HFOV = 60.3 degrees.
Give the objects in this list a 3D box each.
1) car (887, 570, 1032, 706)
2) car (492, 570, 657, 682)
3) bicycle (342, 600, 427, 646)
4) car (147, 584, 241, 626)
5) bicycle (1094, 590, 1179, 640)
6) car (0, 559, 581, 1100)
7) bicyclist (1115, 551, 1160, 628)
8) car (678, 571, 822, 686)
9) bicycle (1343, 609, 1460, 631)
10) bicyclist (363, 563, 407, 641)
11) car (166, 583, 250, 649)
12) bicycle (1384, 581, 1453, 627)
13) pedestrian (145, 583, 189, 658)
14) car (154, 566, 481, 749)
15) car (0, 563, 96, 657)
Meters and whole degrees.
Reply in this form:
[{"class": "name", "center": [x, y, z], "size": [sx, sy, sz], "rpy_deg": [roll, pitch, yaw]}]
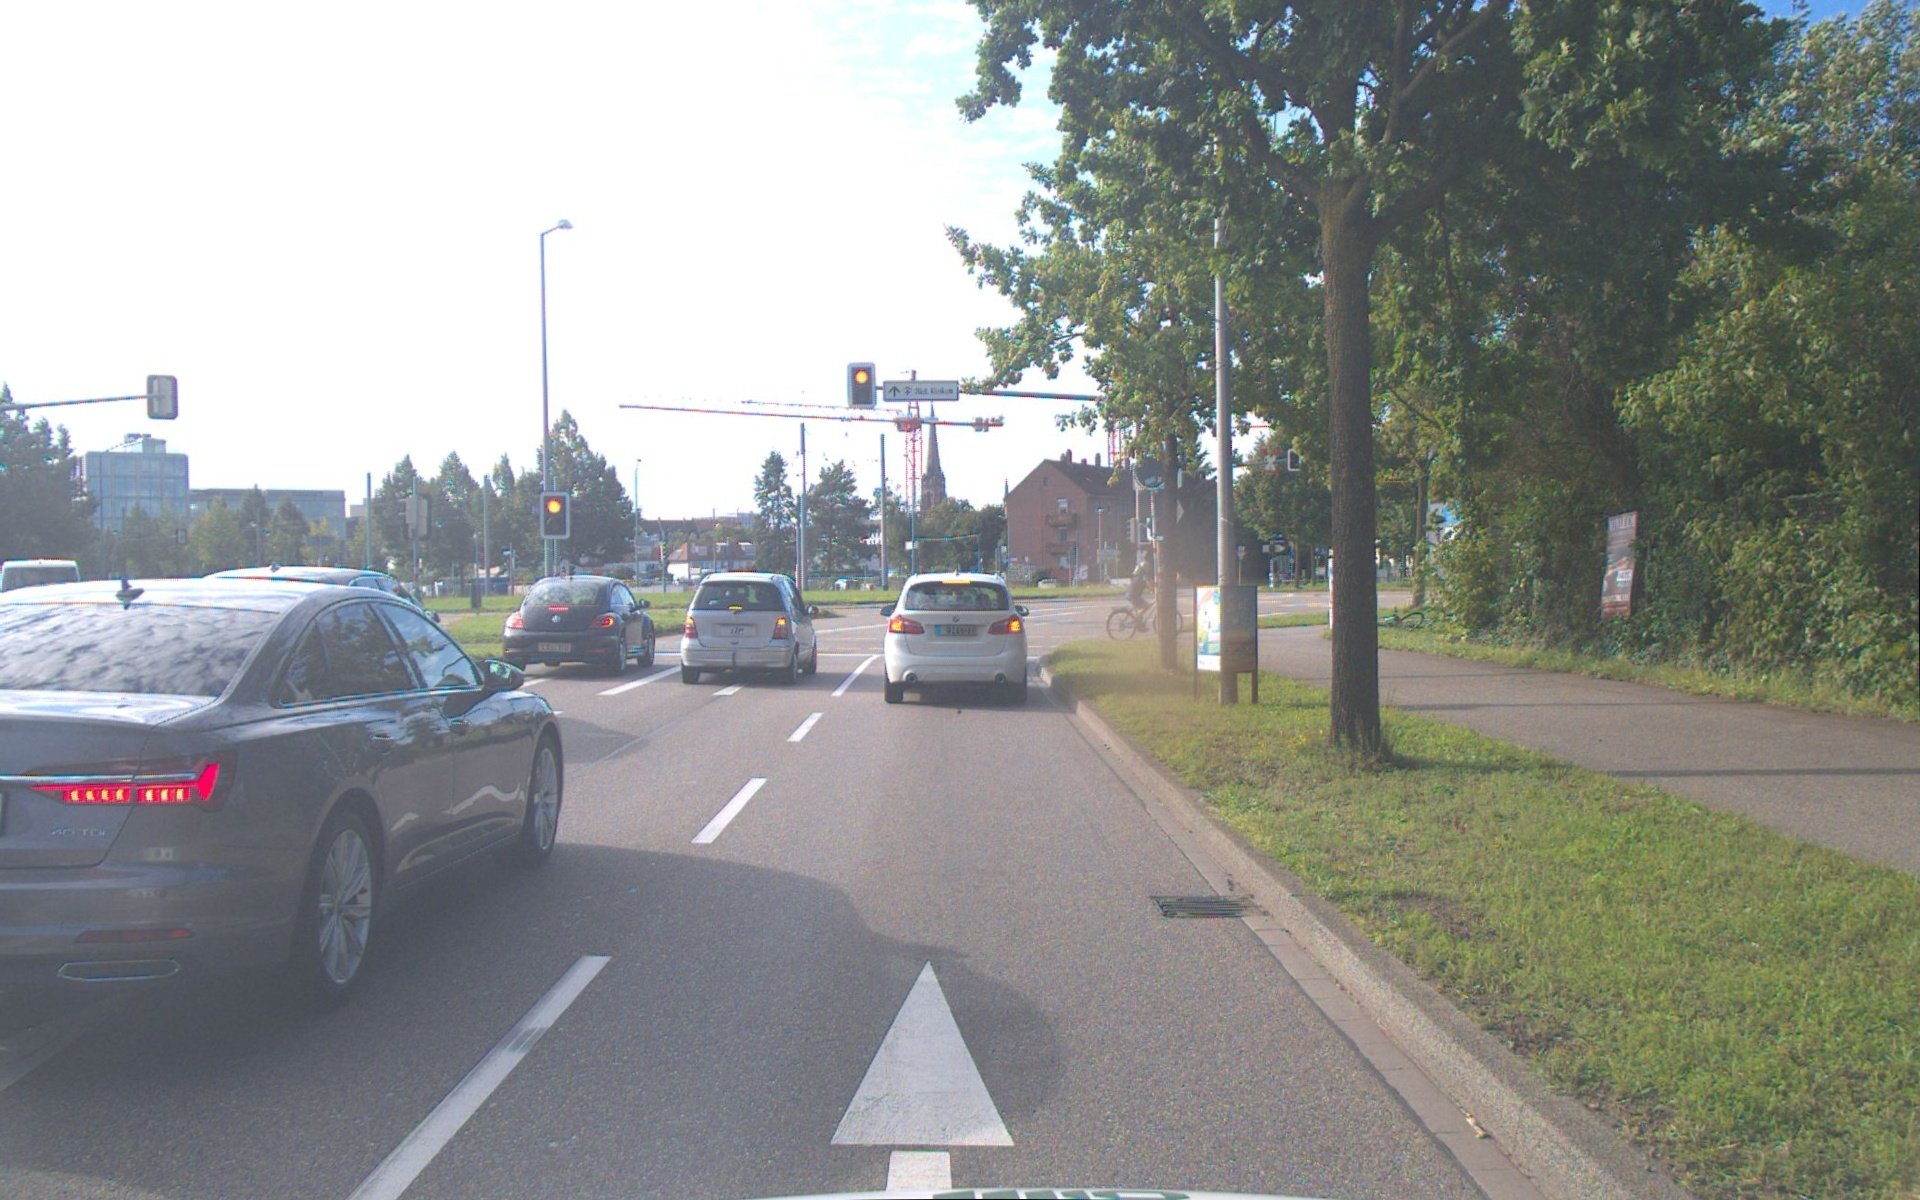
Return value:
[{"class": "car", "center": [-0.039, 0.423, 21.475], "size": [1.694, 1.585, 4.057], "rpy_deg": [0, 1, -1]}, {"class": "car", "center": [-5.928, 0.338, 25.828], "size": [1.686, 1.592, 3.877], "rpy_deg": [1, 1, -1]}, {"class": "bicycle", "center": [-12.737, 0.503, 36.631], "size": [1.642, 0.984, 0.643], "rpy_deg": [-1, 0, -6]}, {"class": "car", "center": [-39.364, 0.225, 85.082], "size": [1.786, 2.049, 4.232], "rpy_deg": [-2, -1, 26]}, {"class": "bicycle", "center": [3.890, 0.320, 36.467], "size": [1.740, 1.068, 0.708], "rpy_deg": [0, 0, -13]}, {"class": "car", "center": [-3.006, 0.624, 6.911], "size": [1.851, 1.509, 4.612], "rpy_deg": [0, 0, -1]}, {"class": "bicyclist", "center": [3.914, -0.223, 36.478], "size": [0.815, 1.676, 0.683], "rpy_deg": [0, 0, -13]}, {"class": "car", "center": [-3.089, 0.373, 25.013], "size": [1.694, 1.585, 4.058], "rpy_deg": [0, 1, -1]}, {"class": "bicycle", "center": [9.299, 0.410, 34.960], "size": [1.382, 0.392, 2.569], "rpy_deg": [-1, 1, -12]}, {"class": "bicyclist", "center": [-12.728, 0.037, 36.635], "size": [0.772, 1.697, 0.549], "rpy_deg": [-1, 0, -5]}, {"class": "car", "center": [-19.931, 0.404, 43.980], "size": [1.680, 1.600, 3.975], "rpy_deg": [-3, 1, -20]}, {"class": "bicycle", "center": [12.142, 0.108, 43.802], "size": [1.698, 1.184, 0.653], "rpy_deg": [-1, 0, -17]}, {"class": "pedestrian", "center": [-16.961, 0.433, 35.397], "size": [0.642, 1.596, 0.615], "rpy_deg": [-1, 0, -5]}, {"class": "car", "center": [-6.162, 0.478, 16.371], "size": [1.694, 1.585, 4.018], "rpy_deg": [0, 1, -1]}, {"class": "car", "center": [-24.541, 0.258, 44.299], "size": [1.968, 2.274, 5.881], "rpy_deg": [-3, 1, -24]}]
